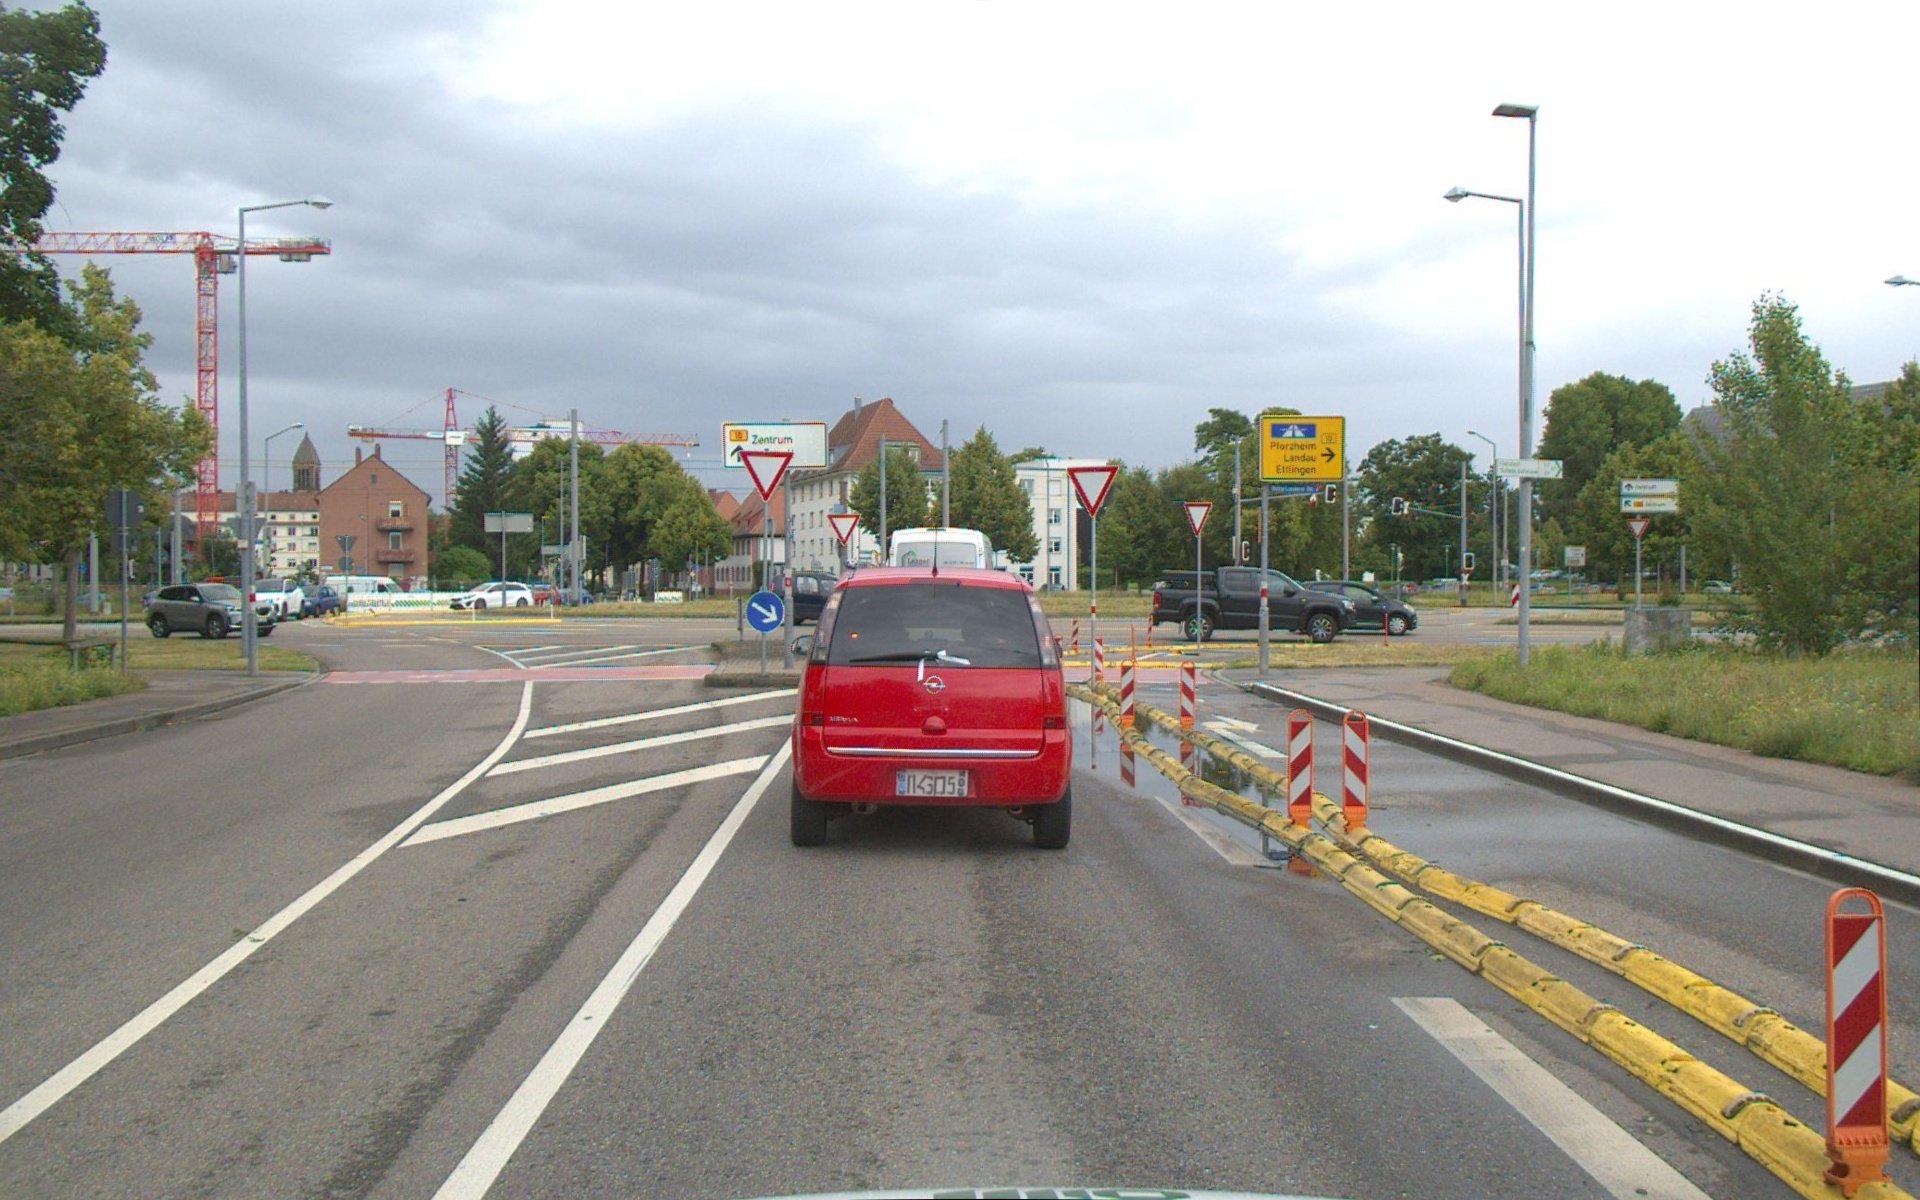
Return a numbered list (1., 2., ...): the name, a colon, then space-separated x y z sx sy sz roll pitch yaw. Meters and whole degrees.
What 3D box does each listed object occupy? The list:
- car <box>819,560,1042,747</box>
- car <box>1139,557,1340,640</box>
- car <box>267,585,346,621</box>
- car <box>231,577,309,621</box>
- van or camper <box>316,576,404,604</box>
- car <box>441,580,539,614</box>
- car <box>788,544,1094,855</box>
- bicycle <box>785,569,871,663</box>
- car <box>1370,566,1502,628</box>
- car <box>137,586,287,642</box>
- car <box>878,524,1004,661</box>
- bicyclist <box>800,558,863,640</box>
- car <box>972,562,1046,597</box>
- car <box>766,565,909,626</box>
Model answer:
1. car: -0.321 0.460 17.394 2.018 1.676 4.606 1 1 -1
2. car: 7.131 -0.038 42.075 4.918 2.006 2.226 0 1 13
3. car: -28.441 0.105 72.113 1.891 1.515 3.999 0 1 -1
4. car: -27.438 -0.061 65.886 1.895 1.713 4.180 -1 1 -9
5. van or camper: -45.595 -0.764 125.799 6.045 2.049 2.002 0 0 9
6. car: -24.206 -0.159 85.316 1.960 1.663 4.658 0 1 36
7. car: -0.144 0.523 10.818 1.639 1.669 3.626 1 1 -1
8. bicycle: -2.331 0.282 29.345 1.446 1.640 0.606 0 0 2
9. car: 15.188 -0.099 52.703 3.904 1.881 2.000 1 0 20
10. car: -22.779 0.409 50.324 4.433 1.610 1.996 0 1 31
11. car: -0.298 -0.171 34.154 2.149 2.584 4.965 1 1 4
12. bicyclist: -2.274 -0.014 29.329 1.039 1.426 0.615 0 0 3
13. car: 2.996 -1.232 100.048 4.371 2.049 2.001 0 0 4
14. car: -3.808 -0.147 51.798 4.105 1.845 2.080 0 1 9
